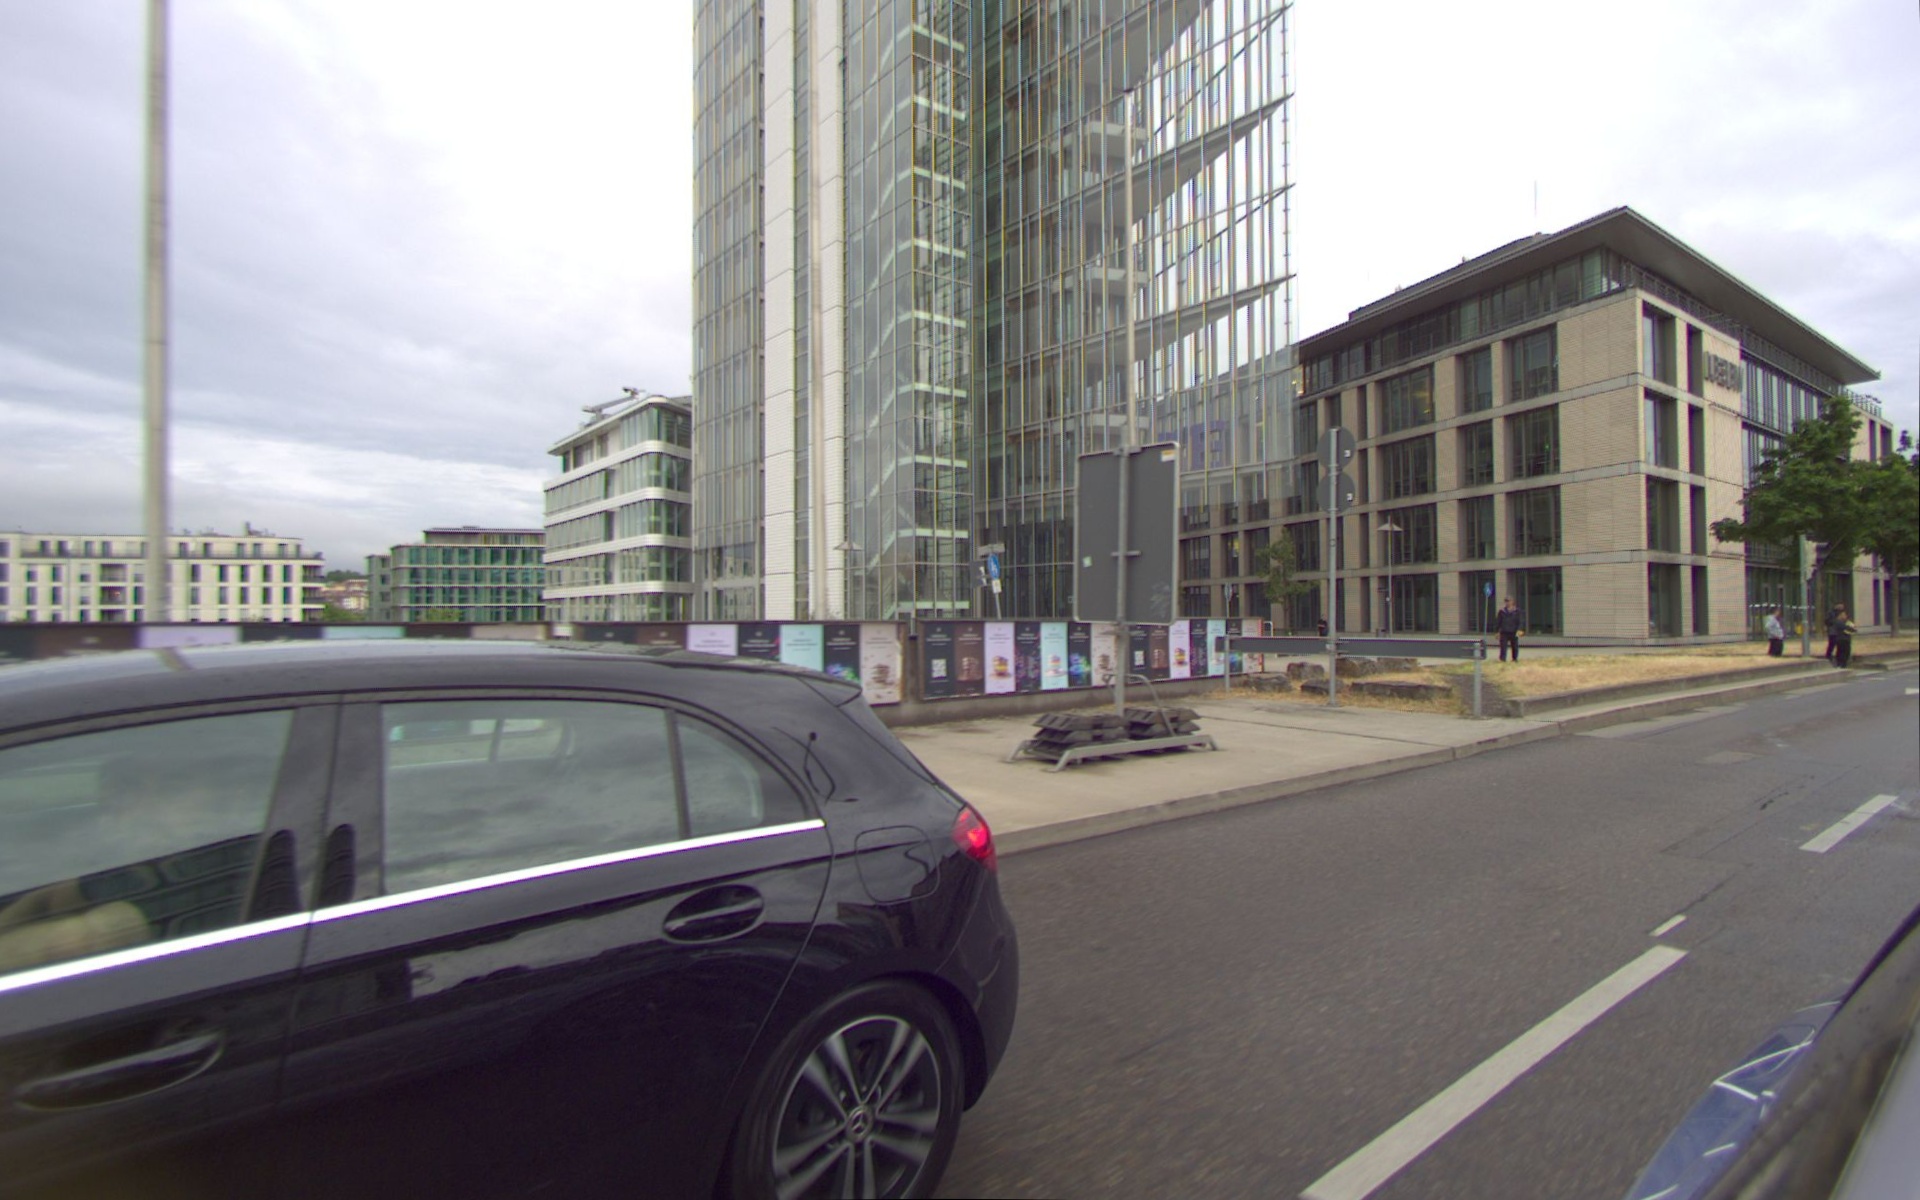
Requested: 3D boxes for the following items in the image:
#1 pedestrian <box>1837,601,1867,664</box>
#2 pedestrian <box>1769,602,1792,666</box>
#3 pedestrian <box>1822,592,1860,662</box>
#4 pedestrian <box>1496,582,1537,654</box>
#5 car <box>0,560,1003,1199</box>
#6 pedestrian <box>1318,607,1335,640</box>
[{"bbox_3d":[22.425,0.808,25.444,0.541,1.547,0.591,0,0,43],"label":"pedestrian"},{"bbox_3d":[21.101,0.868,26.021,0.459,1.619,0.647,0,0,39],"label":"pedestrian"},{"bbox_3d":[23.026,0.690,26.456,0.726,1.793,0.771,0,0,43],"label":"pedestrian"},{"bbox_3d":[12.873,0.417,23.416,0.650,1.632,0.545,0,-2,9],"label":"pedestrian"},{"bbox_3d":[-1.993,0.641,1.792,4.082,1.393,1.726,-1,1,-41],"label":"car"},{"bbox_3d":[19.764,1.276,54.591,0.621,1.767,0.637,0,0,-18],"label":"pedestrian"}]
